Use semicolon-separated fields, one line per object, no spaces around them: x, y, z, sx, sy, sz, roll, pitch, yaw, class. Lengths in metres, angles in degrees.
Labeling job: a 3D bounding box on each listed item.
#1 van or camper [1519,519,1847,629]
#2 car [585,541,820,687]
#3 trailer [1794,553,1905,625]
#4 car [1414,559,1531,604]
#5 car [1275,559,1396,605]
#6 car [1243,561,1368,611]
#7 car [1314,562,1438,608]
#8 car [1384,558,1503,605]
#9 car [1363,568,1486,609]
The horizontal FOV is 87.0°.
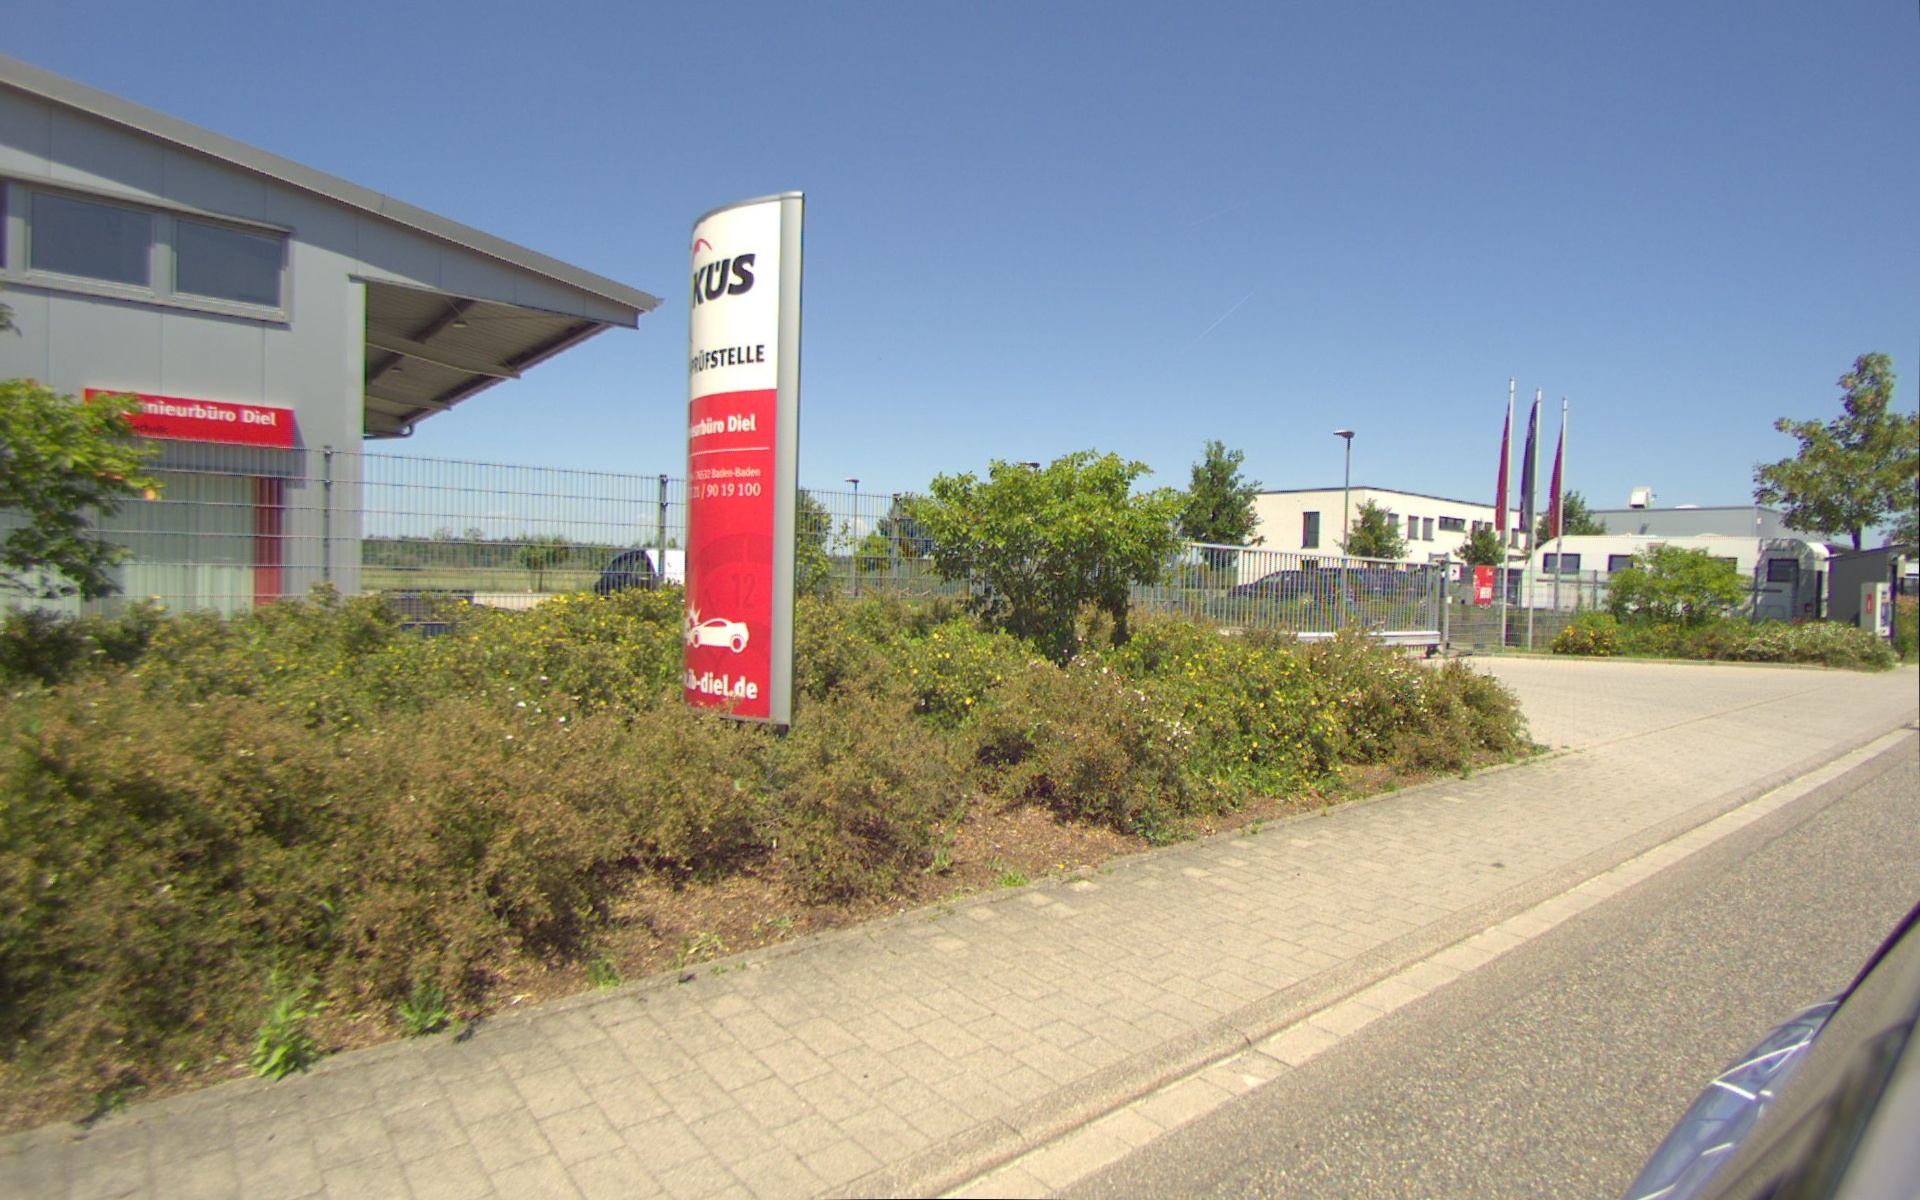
19.312;-0.766;27.451;2.589;2.617;6.773;0;2;-39;van or camper
-3.573;0.093;13.671;1.673;1.698;3.619;0;2;-40;car
32.274;-0.429;36.757;1.396;2.432;2.826;0;3;-43;trailer
22.075;-0.815;43.726;1.884;1.785;4.051;0;3;-40;car
13.775;-0.689;37.284;1.648;1.561;3.830;0;3;-39;car
12.099;-0.518;35.601;1.719;1.595;3.830;0;3;-40;car
15.962;-0.608;38.997;1.717;1.568;4.051;0;3;-39;car
20.186;-0.805;42.402;1.884;1.829;4.051;0;3;-40;car
18.274;-0.474;39.942;1.717;1.449;4.051;0;3;-39;car
